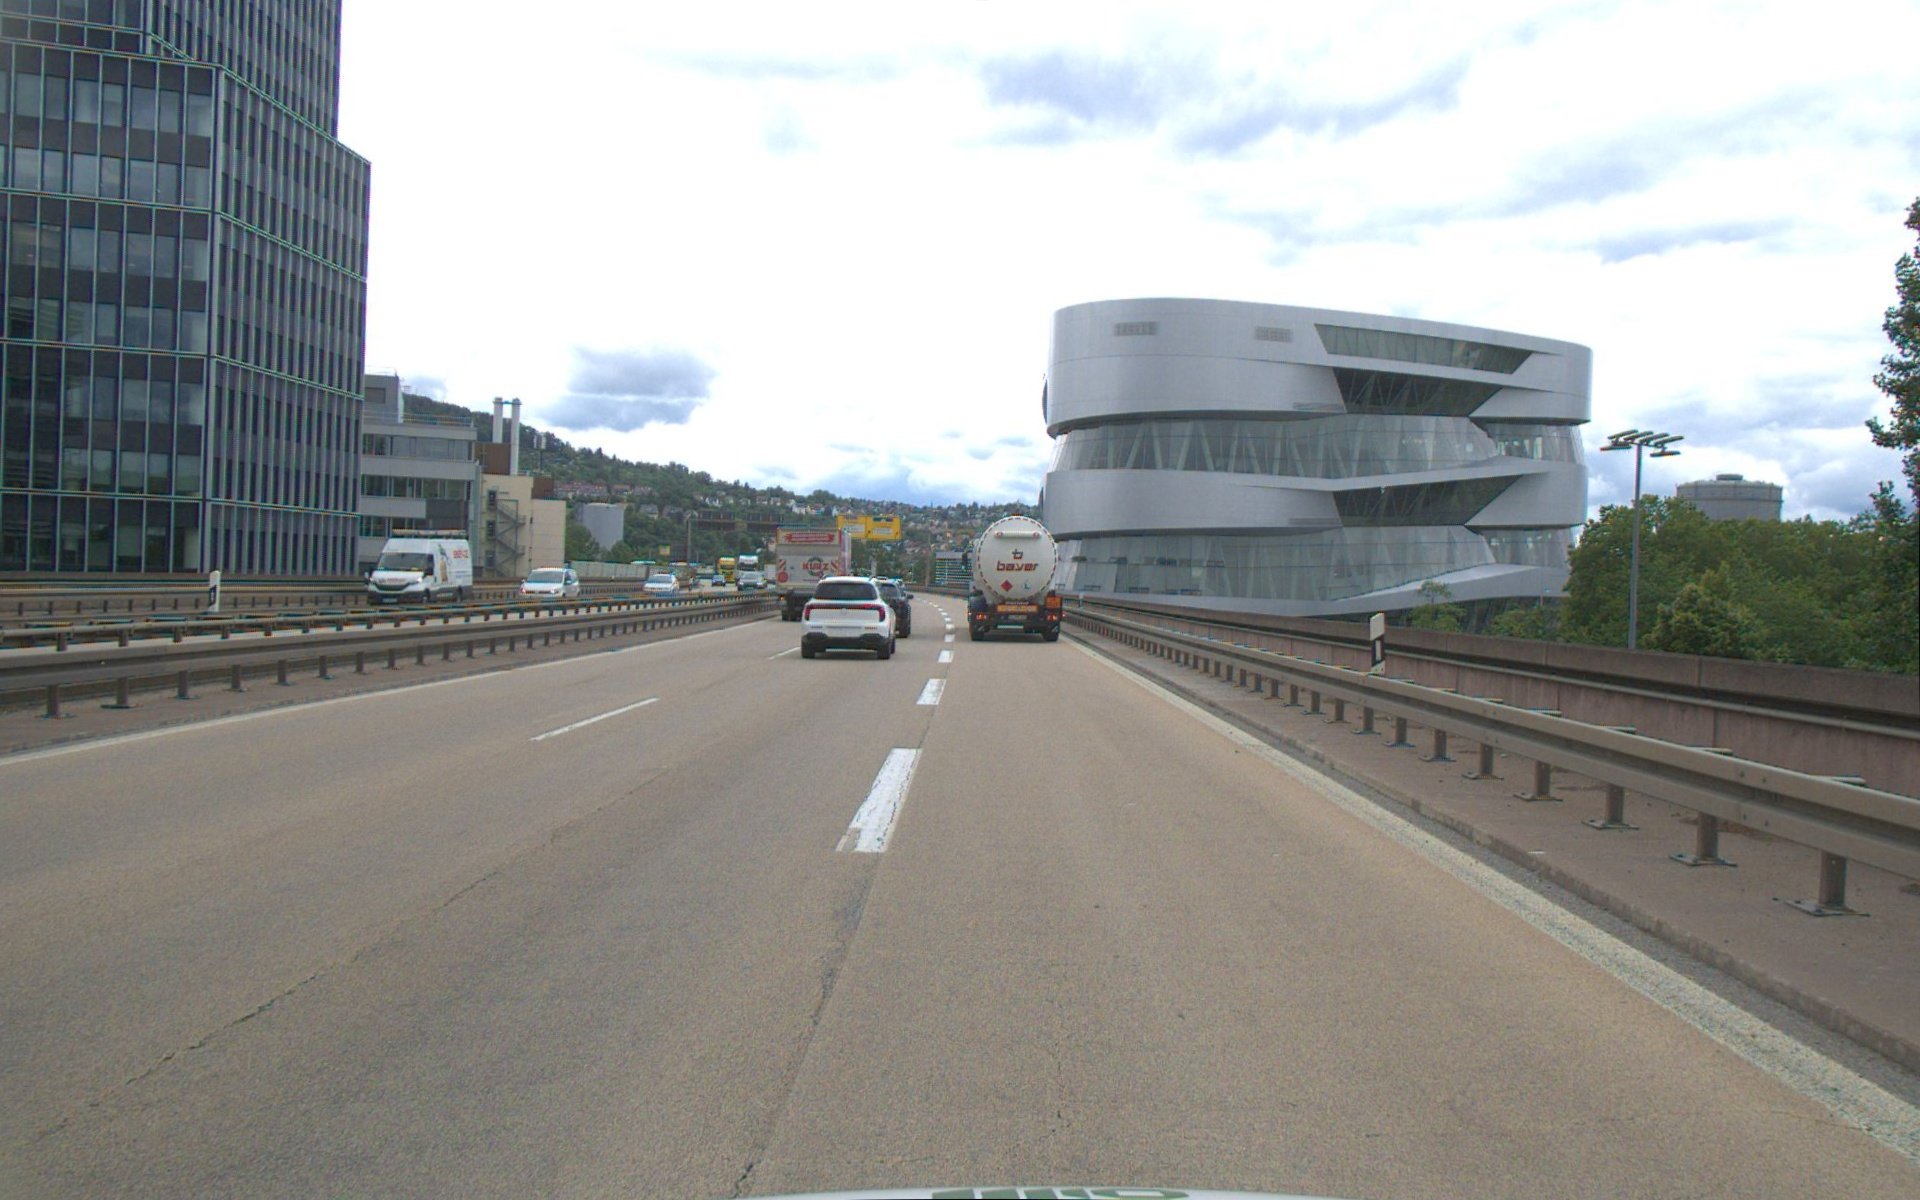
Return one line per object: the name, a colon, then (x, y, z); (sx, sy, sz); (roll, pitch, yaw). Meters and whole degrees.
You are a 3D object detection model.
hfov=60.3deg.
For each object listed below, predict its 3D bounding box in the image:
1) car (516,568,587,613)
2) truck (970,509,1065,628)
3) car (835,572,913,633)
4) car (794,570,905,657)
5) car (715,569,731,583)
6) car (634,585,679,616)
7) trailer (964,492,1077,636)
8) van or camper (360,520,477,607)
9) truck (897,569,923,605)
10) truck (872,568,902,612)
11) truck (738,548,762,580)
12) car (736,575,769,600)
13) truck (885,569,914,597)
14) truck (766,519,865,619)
car: (-16.219, -0.349, 65.871); (1.648, 1.679, 4.313); (2, 0, 1)
truck: (1.840, -1.006, 55.712); (2.952, 3.721, 6.273); (1, 0, 0)
car: (-2.476, 0.067, 48.566); (1.952, 1.704, 4.409); (1, 0, 1)
car: (-2.295, 0.271, 35.402); (1.952, 1.704, 4.409); (1, 0, 1)
car: (-30.670, -3.108, 214.410); (1.650, 1.679, 4.356); (2, 0, -4)
car: (-17.528, 0.012, 95.661); (1.648, 1.679, 4.448); (2, 0, 1)
trailer: (1.726, -0.976, 48.764); (2.994, 3.856, 8.305); (1, 0, 1)
van or camper: (-20.234, -1.336, 62.170); (2.127, 3.061, 7.116); (1, 0, -1)
truck: (-6.595, -1.654, 217.739); (2.997, 4.642, 8.296); (1, 0, -4)
truck: (-7.968, -1.066, 180.268); (2.997, 4.642, 8.296); (1, 0, -4)
truck: (-27.984, -4.739, 220.793); (2.717, 4.150, 5.641); (1, 0, -4)
car: (-15.117, -0.922, 120.582); (1.726, 1.679, 4.335); (3, 0, 0)
truck: (-5.007, -1.384, 137.274); (2.209, 2.201, 5.068); (1, 0, 0)
truck: (-5.693, -1.170, 66.650); (2.994, 3.755, 8.305); (1, 0, 1)
